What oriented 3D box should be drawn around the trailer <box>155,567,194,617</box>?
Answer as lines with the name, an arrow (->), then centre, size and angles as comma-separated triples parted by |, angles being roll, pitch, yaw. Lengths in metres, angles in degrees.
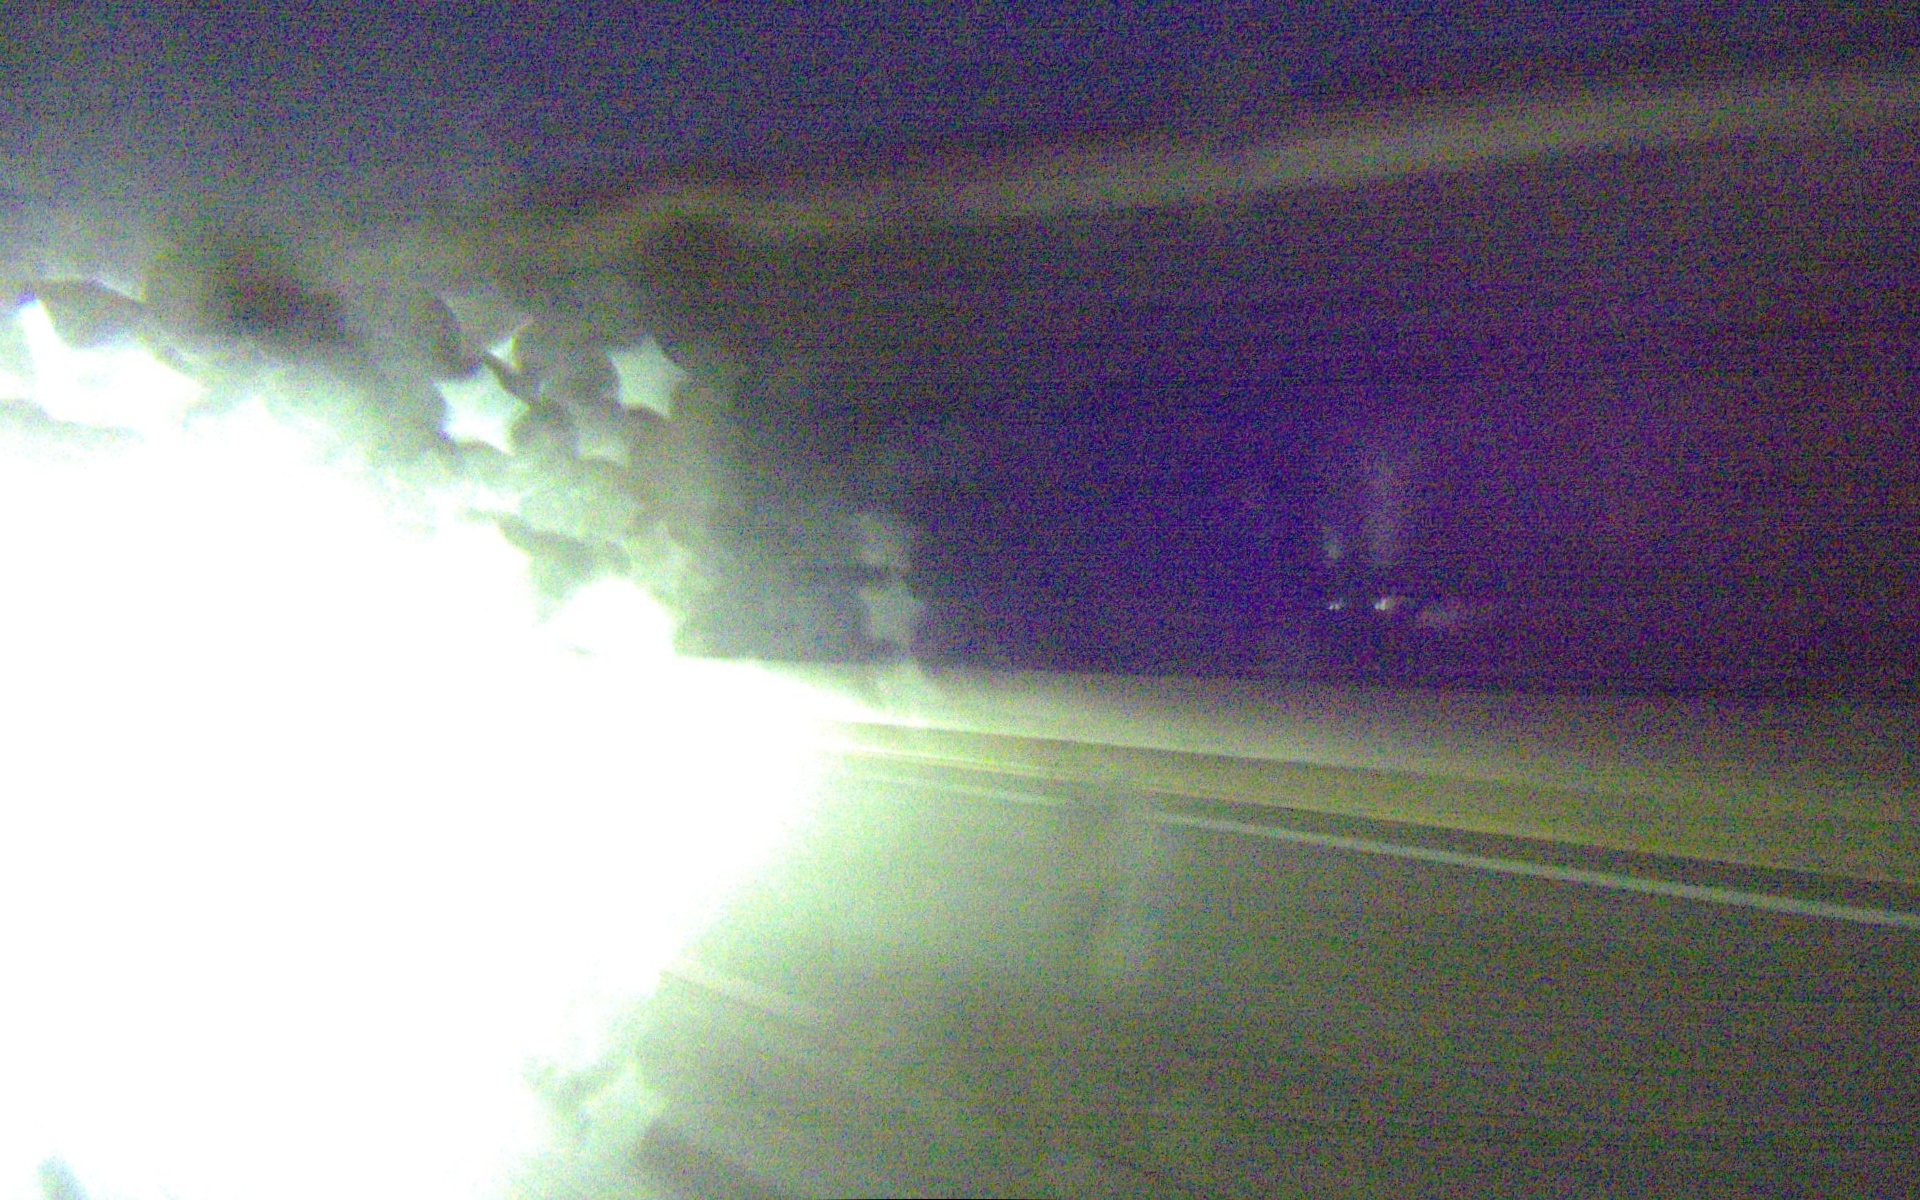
trailer -> -97.894, -0.967, 126.020 | 2.873, 5.939, 14.191 | -1, 0, -41

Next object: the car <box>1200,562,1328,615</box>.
car -> 11.233, -0.399, 37.396 | 4.386, 1.841, 1.772 | -1, -1, 21

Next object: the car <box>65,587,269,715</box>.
car -> -14.065, 0.751, 17.802 | 5.557, 1.898, 2.113 | 0, 0, 44

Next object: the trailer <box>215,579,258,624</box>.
trailer -> -84.297, 0.121, 117.721 | 2.740, 5.013, 14.127 | -1, 0, -41

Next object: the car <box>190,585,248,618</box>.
car -> -50.661, 0.127, 69.169 | 5.543, 2.179, 2.120 | -1, -1, 42
